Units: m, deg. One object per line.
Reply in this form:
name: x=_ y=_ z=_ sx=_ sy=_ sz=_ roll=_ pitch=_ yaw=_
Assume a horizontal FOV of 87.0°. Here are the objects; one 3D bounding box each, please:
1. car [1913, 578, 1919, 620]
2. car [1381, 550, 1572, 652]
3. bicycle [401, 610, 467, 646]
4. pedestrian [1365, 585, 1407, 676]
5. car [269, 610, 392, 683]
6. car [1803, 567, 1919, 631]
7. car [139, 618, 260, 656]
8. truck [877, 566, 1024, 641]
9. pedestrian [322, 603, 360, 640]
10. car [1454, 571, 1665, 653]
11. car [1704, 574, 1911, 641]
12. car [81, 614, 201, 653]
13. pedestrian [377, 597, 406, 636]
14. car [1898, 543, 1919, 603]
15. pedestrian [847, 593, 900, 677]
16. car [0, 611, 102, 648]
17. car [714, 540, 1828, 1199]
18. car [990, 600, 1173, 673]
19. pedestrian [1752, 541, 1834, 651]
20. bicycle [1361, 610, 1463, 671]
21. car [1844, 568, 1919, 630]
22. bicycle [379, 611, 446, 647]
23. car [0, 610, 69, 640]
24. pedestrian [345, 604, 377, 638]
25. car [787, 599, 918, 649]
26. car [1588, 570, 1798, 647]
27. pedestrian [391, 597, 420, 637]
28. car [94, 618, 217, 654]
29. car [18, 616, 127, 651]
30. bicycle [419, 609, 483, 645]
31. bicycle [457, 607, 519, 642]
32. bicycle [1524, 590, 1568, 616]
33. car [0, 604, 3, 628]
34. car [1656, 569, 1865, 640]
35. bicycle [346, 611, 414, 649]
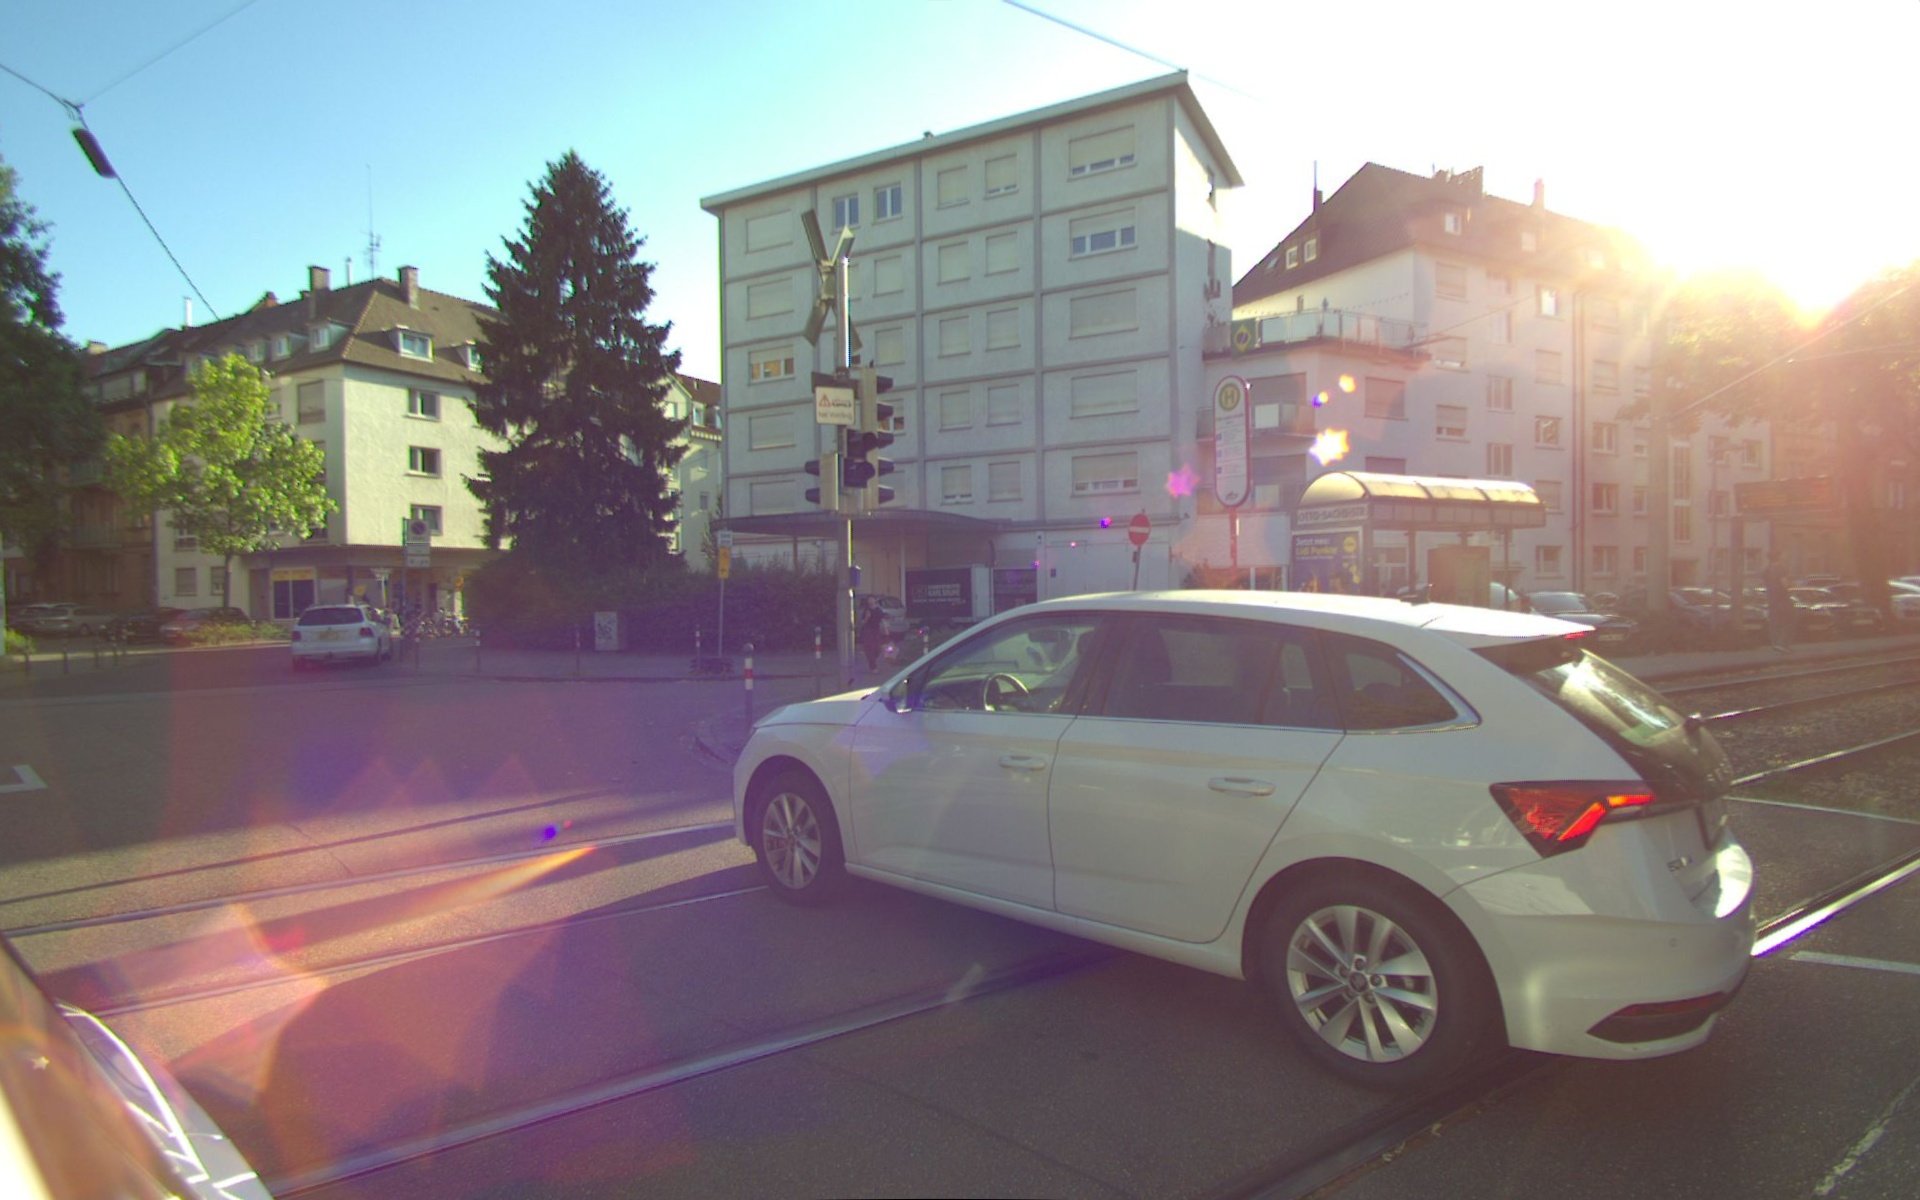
car: x=34.979 y=-0.204 z=33.992 sx=1.832 sy=1.484 sz=4.239 roll=-3 pitch=-3 yaw=1
car: x=9.778 y=0.131 z=19.561 sx=1.587 sy=1.665 sz=4.236 roll=-3 pitch=-3 yaw=3
bicycle: x=-22.490 y=1.165 z=43.234 sx=3.368 sy=1.456 sz=0.872 roll=0 pitch=1 yaw=32
pedestrian: x=6.284 y=0.438 z=14.928 sx=0.444 sy=1.311 sz=0.339 roll=-2 pitch=0 yaw=-30
car: x=-14.837 y=1.017 z=24.079 sx=1.890 sy=1.461 sz=4.310 roll=-3 pitch=1 yaw=-25
car: x=27.191 y=0.000 z=29.591 sx=1.837 sy=1.664 sz=4.229 roll=-4 pitch=-3 yaw=9
car: x=-32.887 y=1.576 z=43.911 sx=1.854 sy=1.410 sz=3.986 roll=-1 pitch=0 yaw=11
truck: x=-0.377 y=0.150 z=36.468 sx=4.950 sy=2.554 sz=1.981 roll=-1 pitch=0 yaw=29
pedestrian: x=-28.949 y=1.008 z=47.331 sx=0.960 sy=1.679 sz=1.203 roll=-1 pitch=0 yaw=29
car: x=12.427 y=0.327 z=21.352 sx=1.676 sy=1.448 sz=4.208 roll=-3 pitch=-3 yaw=-3
car: x=22.064 y=0.269 z=26.607 sx=1.584 sy=1.470 sz=4.243 roll=-3 pitch=-3 yaw=-3
car: x=-37.727 y=1.525 z=46.738 sx=1.855 sy=1.580 sz=3.983 roll=-1 pitch=0 yaw=14
pedestrian: x=-27.653 y=0.793 z=49.269 sx=0.848 sy=1.889 sz=0.882 roll=-1 pitch=0 yaw=29
car: x=49.096 y=-1.403 z=49.624 sx=5.386 sy=2.909 sz=2.569 roll=-2 pitch=-1 yaw=-25
pedestrian: x=-1.879 y=0.740 z=21.969 sx=0.856 sy=1.749 sz=0.833 roll=-1 pitch=1 yaw=-28
car: x=-45.848 y=1.455 z=51.026 sx=1.847 sy=1.648 sz=4.000 roll=-2 pitch=0 yaw=-1
car: x=0.892 y=0.630 z=4.189 sx=4.061 sy=1.467 sz=1.684 roll=-2 pitch=0 yaw=42
car: x=2.820 y=0.800 z=23.324 sx=3.932 sy=1.457 sz=1.721 roll=-2 pitch=-1 yaw=-32
pedestrian: x=15.093 y=-0.078 z=18.338 sx=0.823 sy=1.925 sz=0.853 roll=-1 pitch=0 yaw=-27
bicycle: x=6.540 y=0.564 z=14.619 sx=1.615 sy=0.789 sz=0.452 roll=-2 pitch=0 yaw=-29
car: x=29.395 y=-0.079 z=30.640 sx=1.837 sy=1.762 sz=4.229 roll=-4 pitch=-3 yaw=9
bicycle: x=-22.830 y=1.183 z=42.183 sx=3.368 sy=1.456 sz=0.872 roll=0 pitch=1 yaw=32
car: x=-48.255 y=1.262 z=51.798 sx=1.847 sy=1.410 sz=4.000 roll=-2 pitch=0 yaw=-1
pedestrian: x=-28.691 y=1.006 z=48.489 sx=0.887 sy=1.581 sz=0.954 roll=-1 pitch=0 yaw=30
car: x=-3.626 y=0.803 z=33.859 sx=3.987 sy=1.544 sz=1.978 roll=-1 pitch=0 yaw=32
car: x=17.042 y=0.286 z=23.831 sx=1.584 sy=1.519 sz=4.243 roll=-3 pitch=-3 yaw=-3
pedestrian: x=-26.841 y=0.801 z=48.948 sx=0.848 sy=1.889 sz=0.882 roll=-1 pitch=0 yaw=29
car: x=-35.270 y=1.554 z=44.500 sx=1.854 sy=1.410 sz=3.986 roll=-1 pitch=0 yaw=11
car: x=-43.148 y=1.578 z=49.318 sx=1.847 sy=1.516 sz=4.000 roll=-2 pitch=0 yaw=-1
bicycle: x=-22.311 y=1.147 z=44.346 sx=3.368 sy=1.456 sz=0.872 roll=1 pitch=1 yaw=32
bicycle: x=-21.426 y=1.100 z=45.920 sx=3.368 sy=1.456 sz=0.872 roll=1 pitch=1 yaw=32
bicycle: x=24.816 y=0.127 z=42.850 sx=2.138 sy=1.011 sz=0.535 roll=-2 pitch=0 yaw=-28
car: x=-55.899 y=0.957 z=56.132 sx=1.847 sy=1.410 sz=4.000 roll=-2 pitch=0 yaw=-1
car: x=19.912 y=0.178 z=25.442 sx=1.584 sy=1.470 sz=4.243 roll=-3 pitch=-3 yaw=-3
bicycle: x=-23.547 y=1.185 z=41.064 sx=3.368 sy=1.456 sz=0.872 roll=0 pitch=1 yaw=32
